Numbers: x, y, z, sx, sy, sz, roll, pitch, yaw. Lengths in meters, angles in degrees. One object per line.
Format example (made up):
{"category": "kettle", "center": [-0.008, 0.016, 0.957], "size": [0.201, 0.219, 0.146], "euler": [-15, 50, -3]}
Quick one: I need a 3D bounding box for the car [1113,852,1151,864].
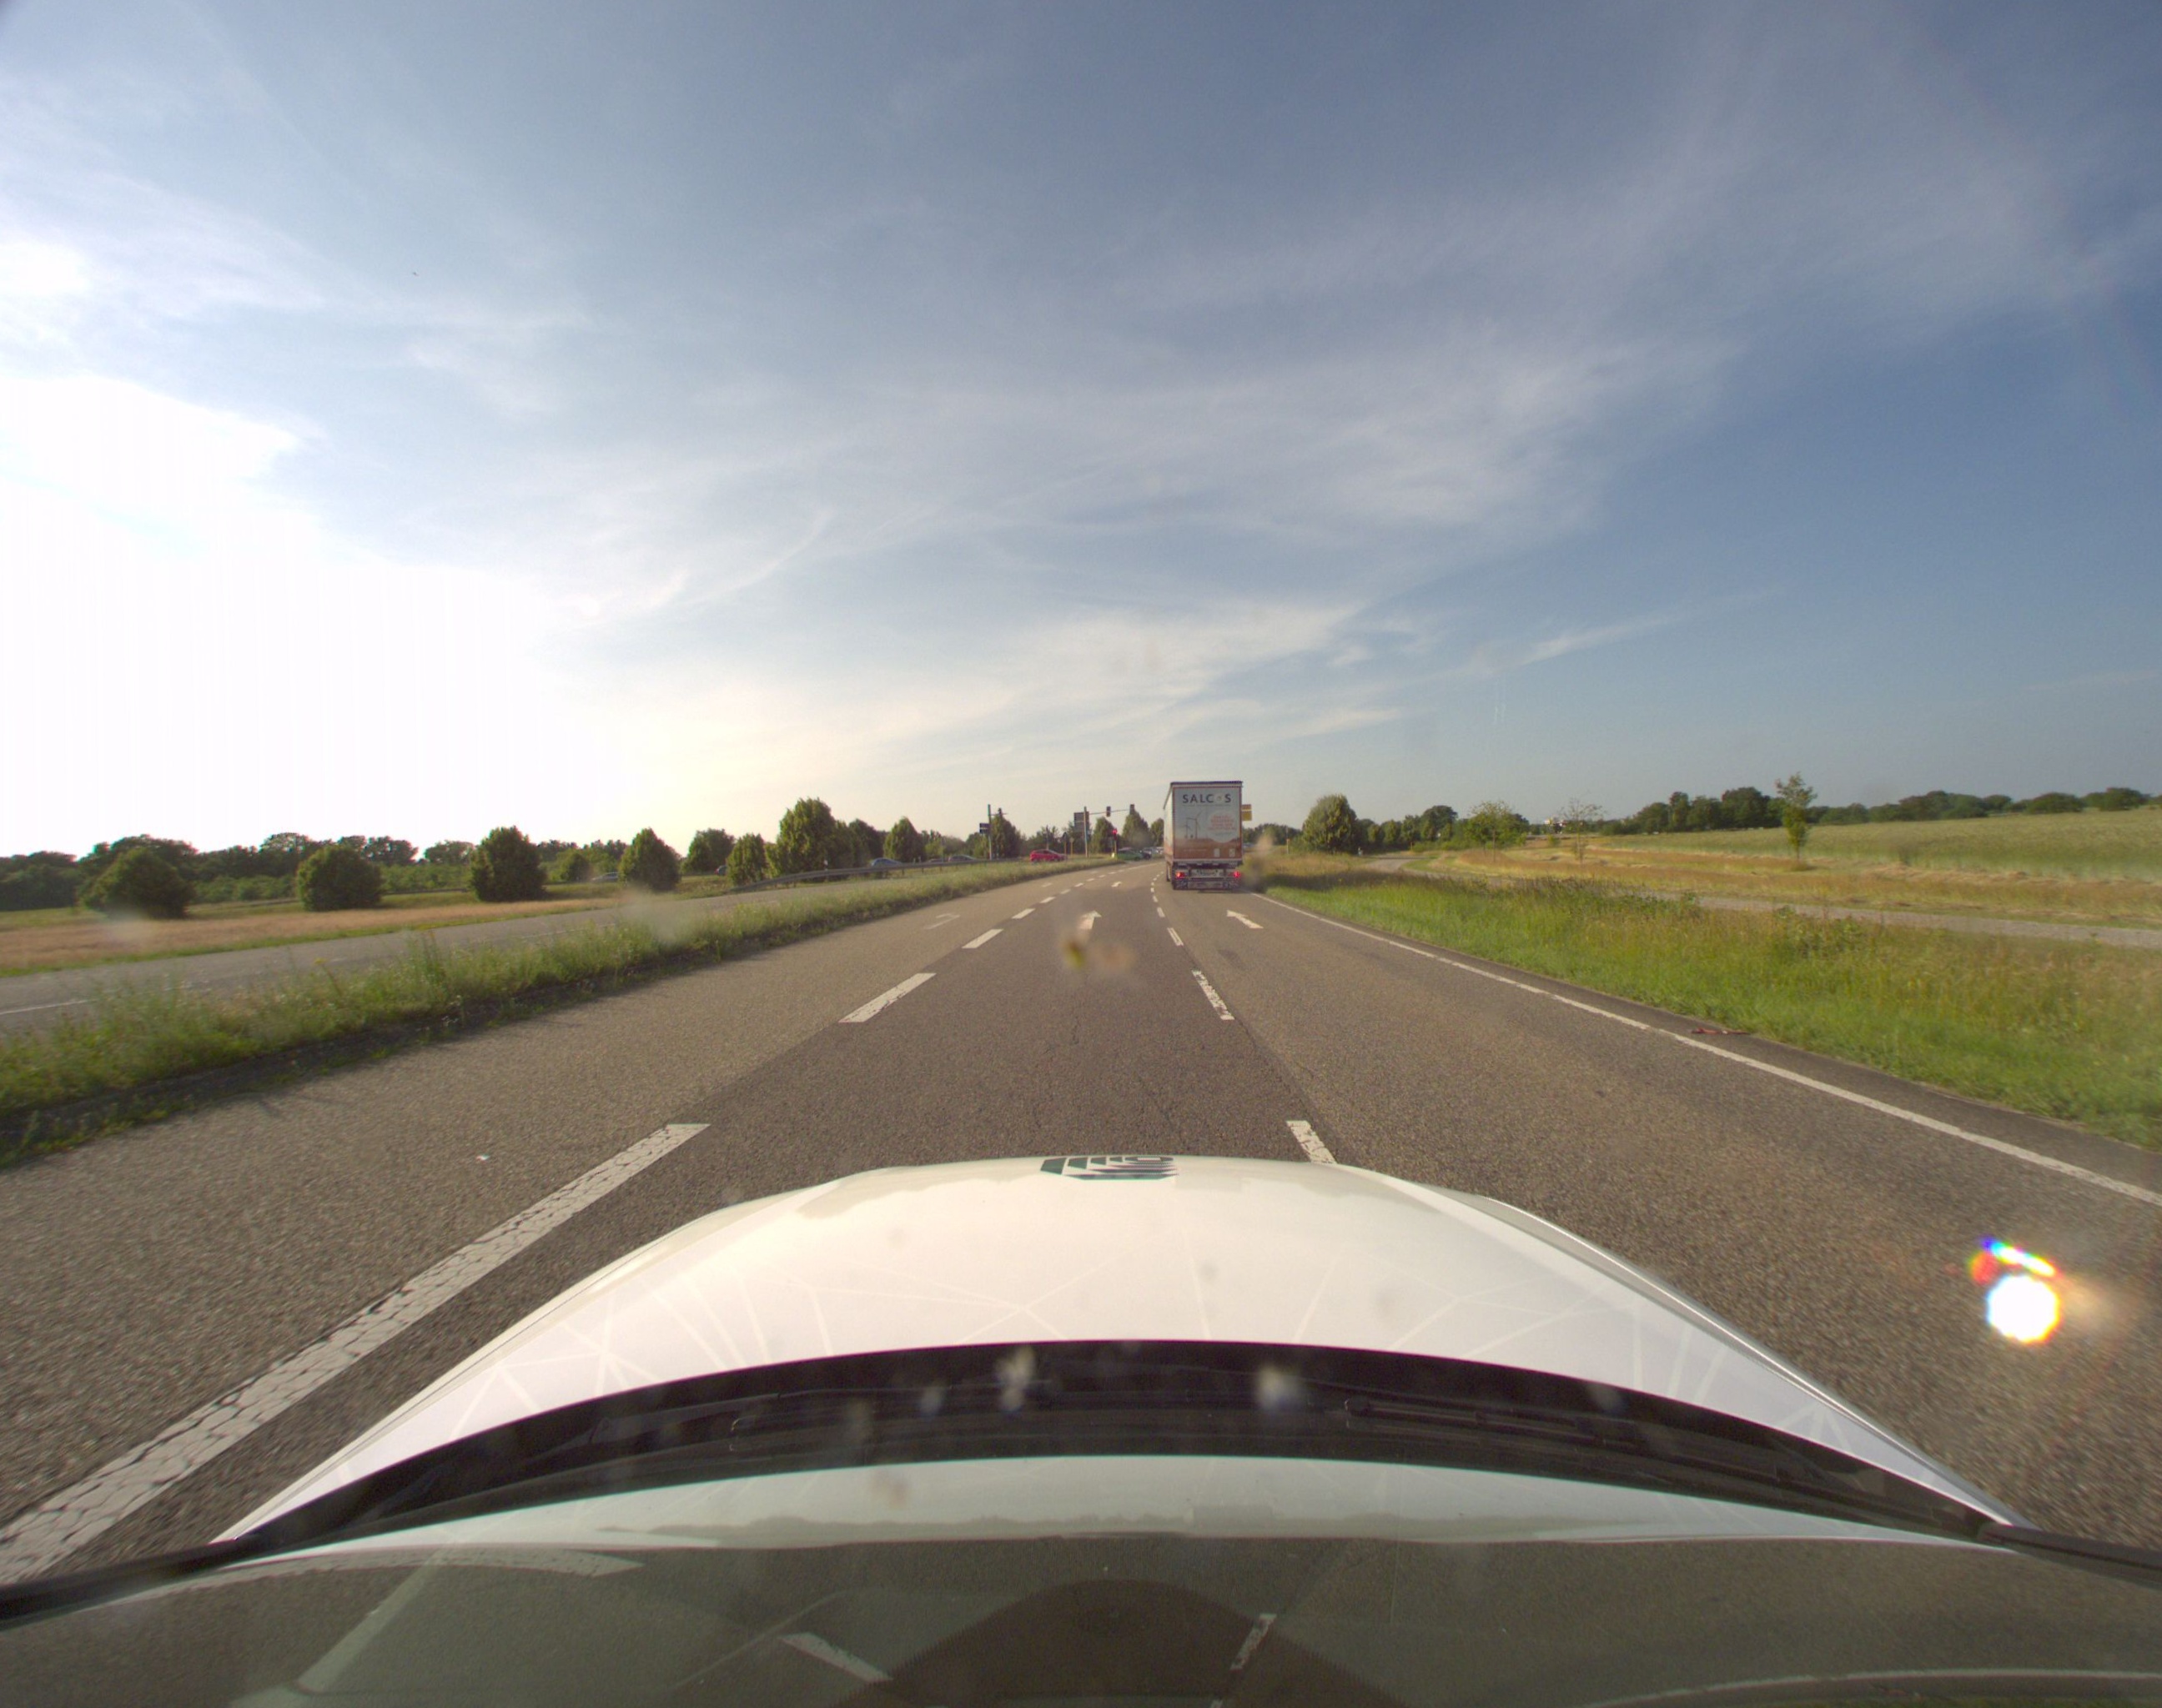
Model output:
{"category": "car", "center": [6.124, 0.517, 98.906], "size": [4.411, 1.417, 1.918], "euler": [0, -1, -3]}

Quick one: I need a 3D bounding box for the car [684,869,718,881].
{"category": "car", "center": [-54.627, 2.995, 117.184], "size": [3.975, 1.667, 1.999], "euler": [-1, -1, -1]}

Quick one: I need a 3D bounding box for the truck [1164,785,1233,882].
{"category": "truck", "center": [5.980, -0.980, 42.400], "size": [3.284, 4.657, 5.741], "euler": [-1, 0, 5]}

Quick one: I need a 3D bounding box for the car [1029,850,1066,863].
{"category": "car", "center": [-4.084, 0.286, 100.649], "size": [4.236, 1.565, 1.907], "euler": [-1, -1, 11]}

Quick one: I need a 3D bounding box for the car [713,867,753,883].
{"category": "car", "center": [-45.518, 2.722, 106.588], "size": [4.452, 2.014, 1.996], "euler": [0, -1, -6]}

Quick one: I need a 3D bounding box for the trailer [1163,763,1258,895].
{"category": "trailer", "center": [5.317, -0.940, 35.828], "size": [3.265, 4.681, 13.168], "euler": [-1, 0, 6]}
